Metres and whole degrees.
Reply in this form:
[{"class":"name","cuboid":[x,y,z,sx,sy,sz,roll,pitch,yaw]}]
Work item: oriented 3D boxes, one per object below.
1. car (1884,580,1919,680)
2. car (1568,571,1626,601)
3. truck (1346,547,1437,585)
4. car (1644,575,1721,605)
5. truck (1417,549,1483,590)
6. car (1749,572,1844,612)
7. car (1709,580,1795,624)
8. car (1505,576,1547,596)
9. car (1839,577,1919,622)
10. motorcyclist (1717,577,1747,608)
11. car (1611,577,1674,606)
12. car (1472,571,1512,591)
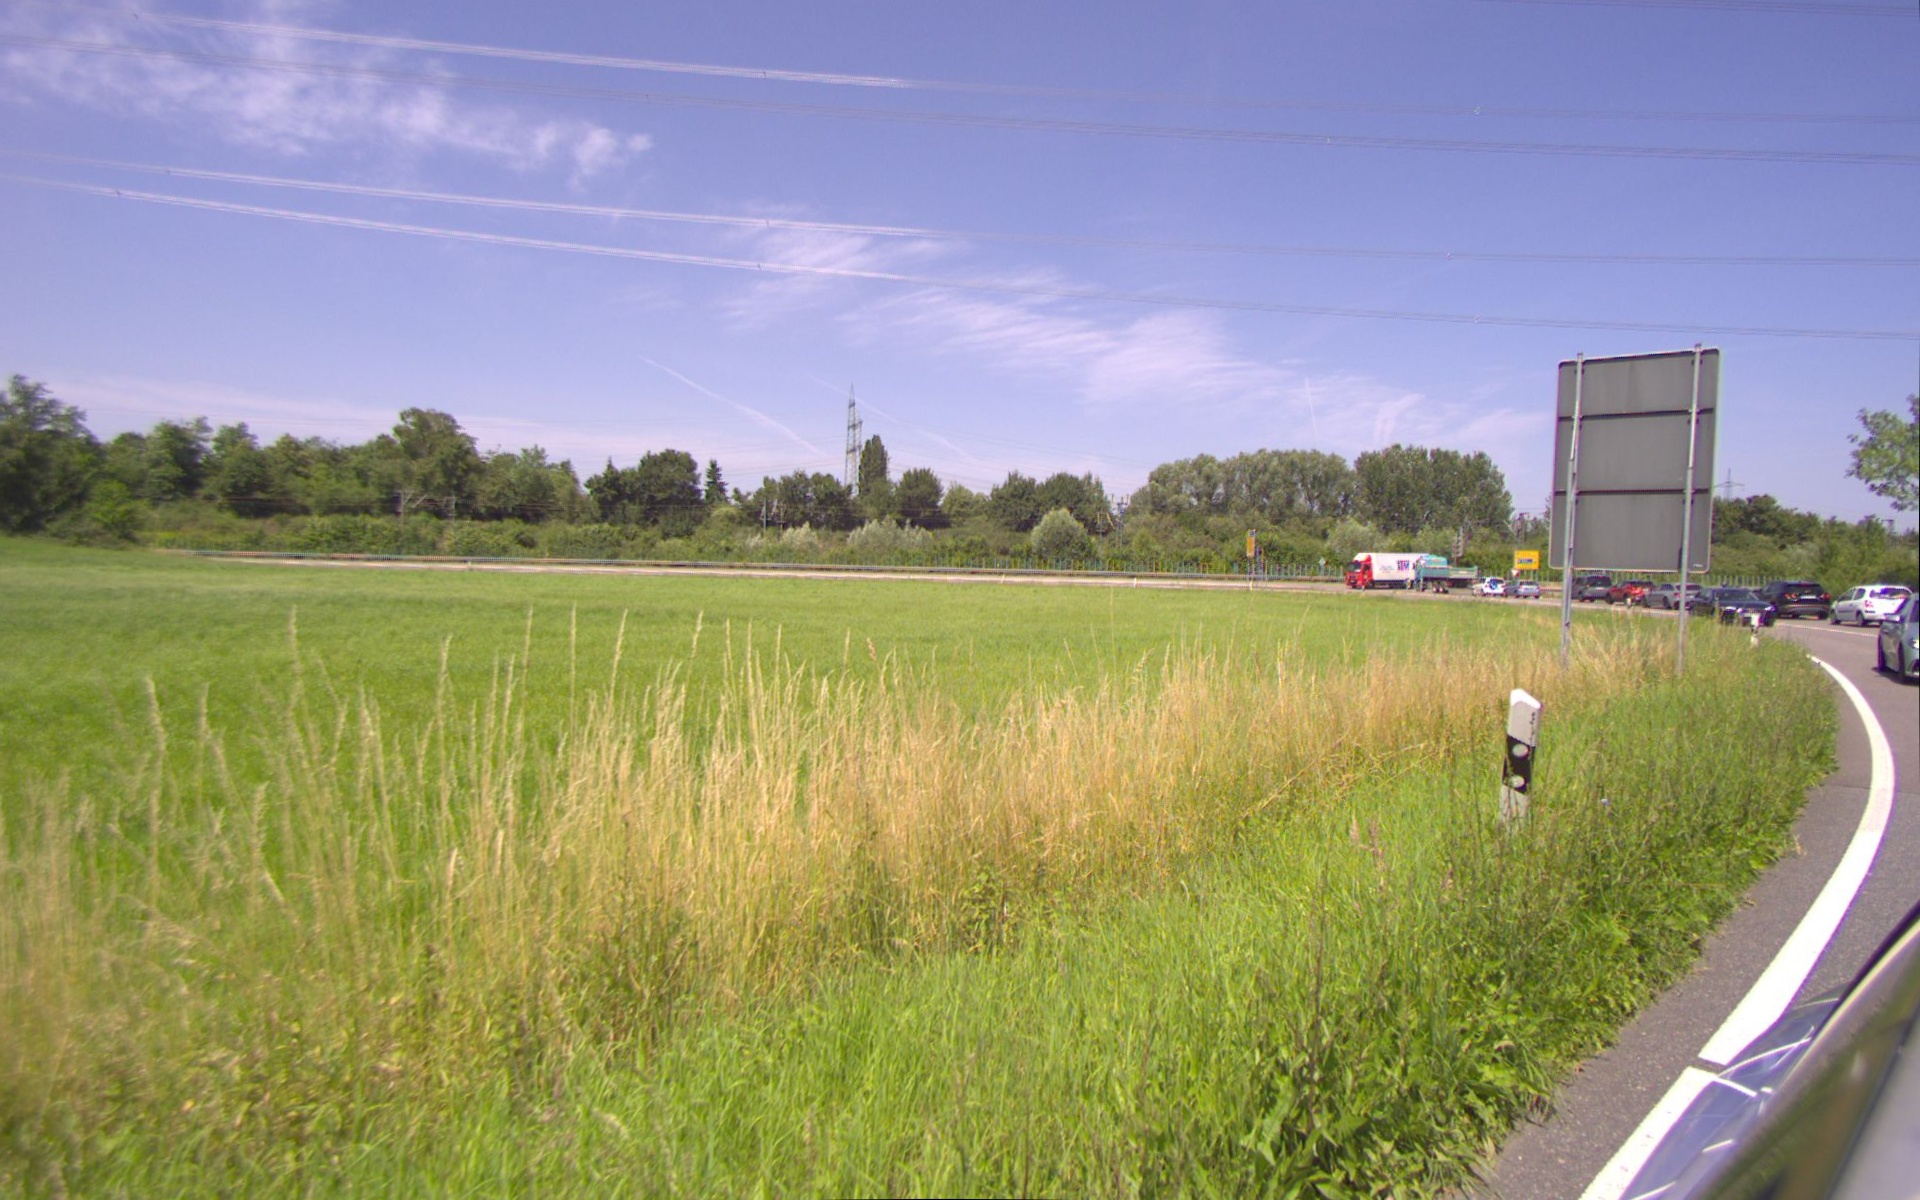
[{"class":"car","cuboid":[16.584,0.454,16.476,1.814,1.505,4.095,0,2,36]},{"class":"car","cuboid":[42.712,-0.992,67.946,1.904,1.854,4.422,2,3,14]},{"class":"truck","cuboid":[44.048,-3.493,103.259,9.356,3.623,2.732,-2,2,-22]},{"class":"car","cuboid":[39.297,-0.585,55.185,1.821,1.478,4.788,1,3,15]},{"class":"truck","cuboid":[44.964,-2.843,93.073,2.563,3.514,7.606,1,2,3]},{"class":"car","cuboid":[35.779,-0.375,43.399,1.685,1.658,4.225,0,1,18]},{"class":"car","cuboid":[29.688,0.027,38.042,1.809,1.457,4.108,2,2,28]},{"class":"car","cuboid":[43.959,-1.104,78.652,1.611,1.477,3.996,1,2,10]},{"class":"car","cuboid":[33.131,-0.050,36.192,1.524,1.460,3.579,-1,2,24]},{"class":"motorcyclist","cuboid":[38.303,-0.389,50.249,0.772,1.513,1.126,1,2,15]},{"class":"car","cuboid":[41.246,-0.540,61.246,1.779,1.534,4.373,2,3,15]},{"class":"car","cuboid":[44.650,-1.621,84.959,1.749,1.640,4.318,0,1,10]}]
